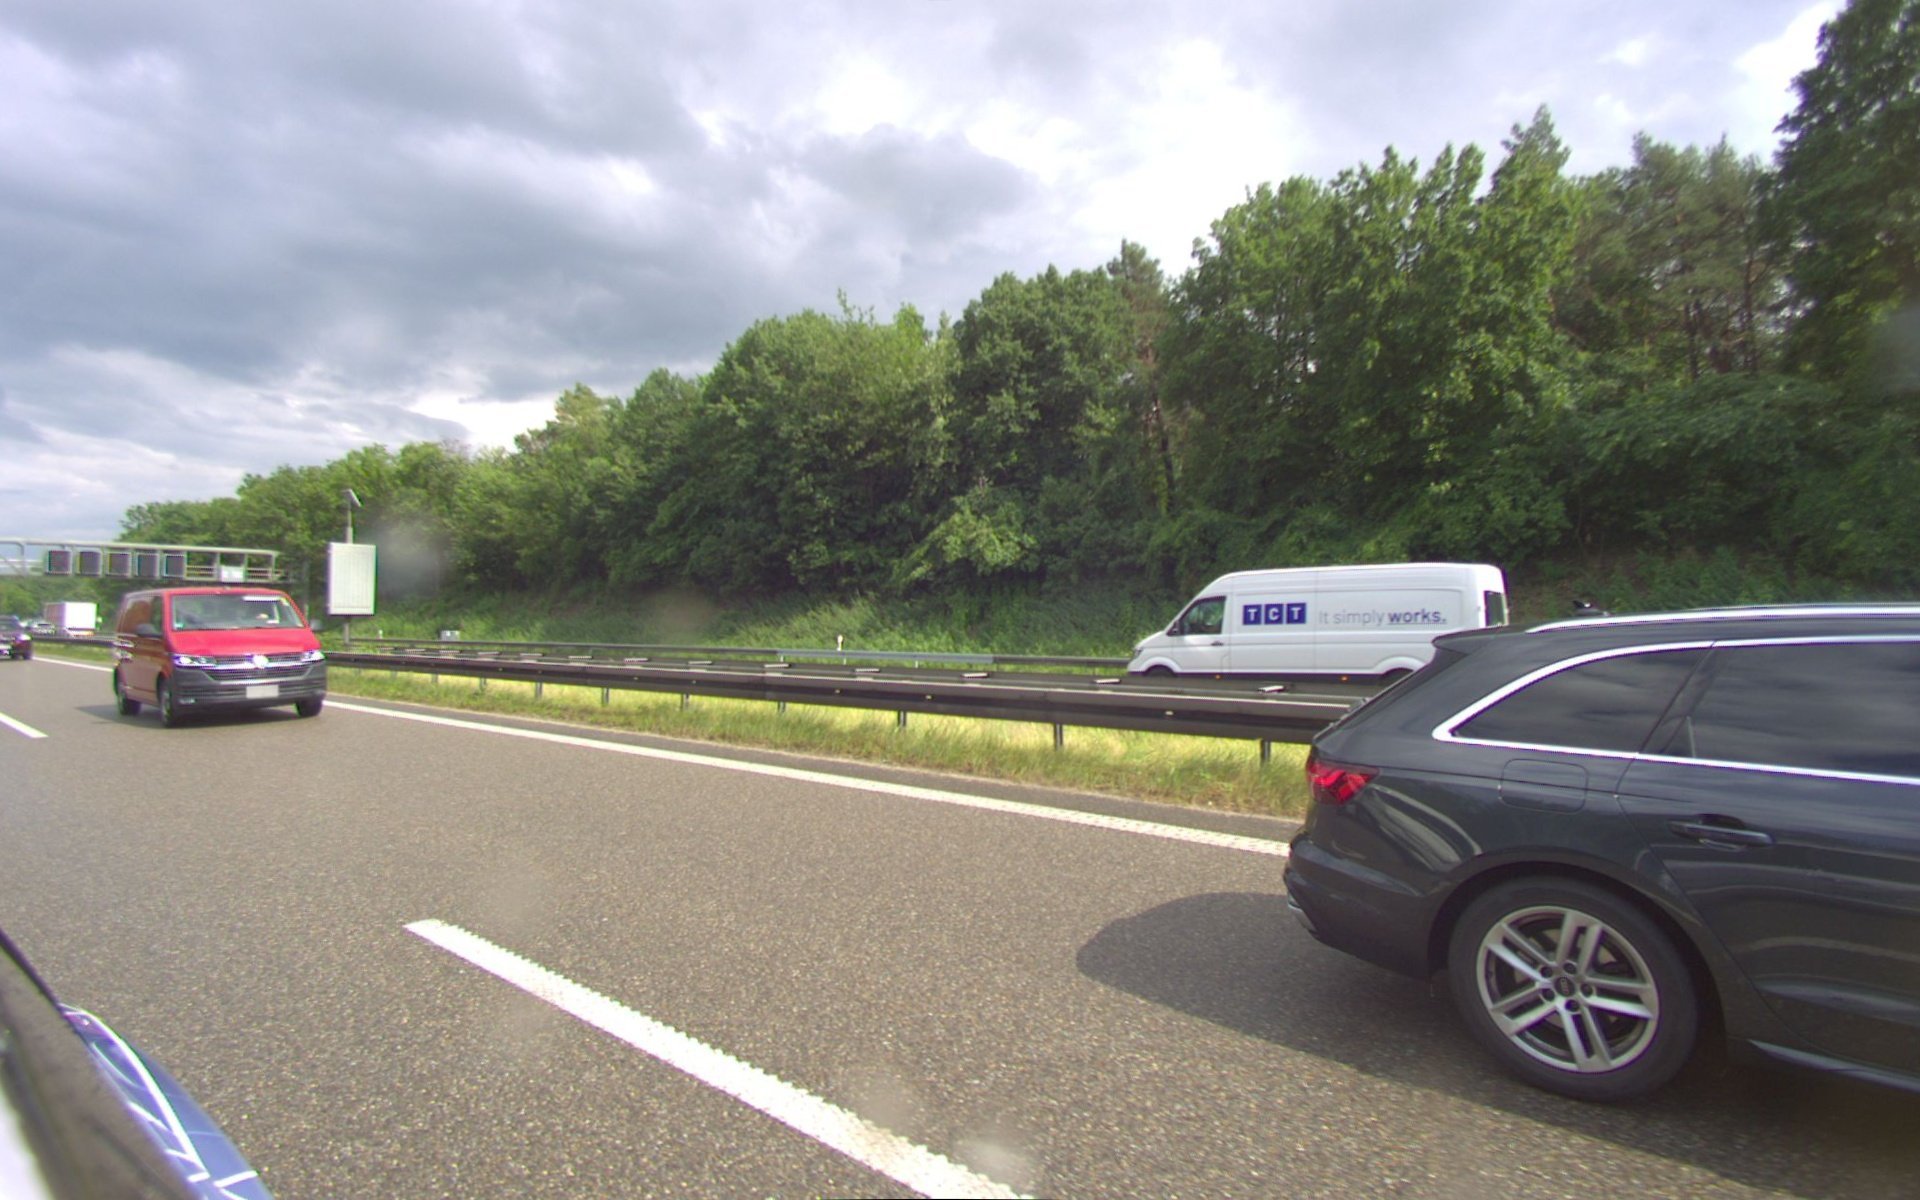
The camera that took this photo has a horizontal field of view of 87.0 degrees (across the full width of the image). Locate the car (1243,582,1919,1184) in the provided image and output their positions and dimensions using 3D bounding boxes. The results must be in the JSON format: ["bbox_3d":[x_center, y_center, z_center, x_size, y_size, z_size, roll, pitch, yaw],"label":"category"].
[{"bbox_3d":[3.388,0.656,2.602,4.837,1.429,1.775,-1,0,41],"label":"car"}]

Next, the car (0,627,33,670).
[{"bbox_3d":[-36.384,1.784,37.869,4.837,1.508,1.983,-1,0,41],"label":"car"}]

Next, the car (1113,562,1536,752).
[{"bbox_3d":[6.368,0.909,18.494,6.926,2.892,2.240,-1,0,40],"label":"car"}]

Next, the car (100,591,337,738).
[{"bbox_3d":[-11.293,0.858,15.274,4.837,1.880,1.902,-1,0,41],"label":"car"}]

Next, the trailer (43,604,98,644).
[{"bbox_3d":[-104.421,2.770,118.729,14.082,4.406,2.834,-1,0,40],"label":"trailer"}]
